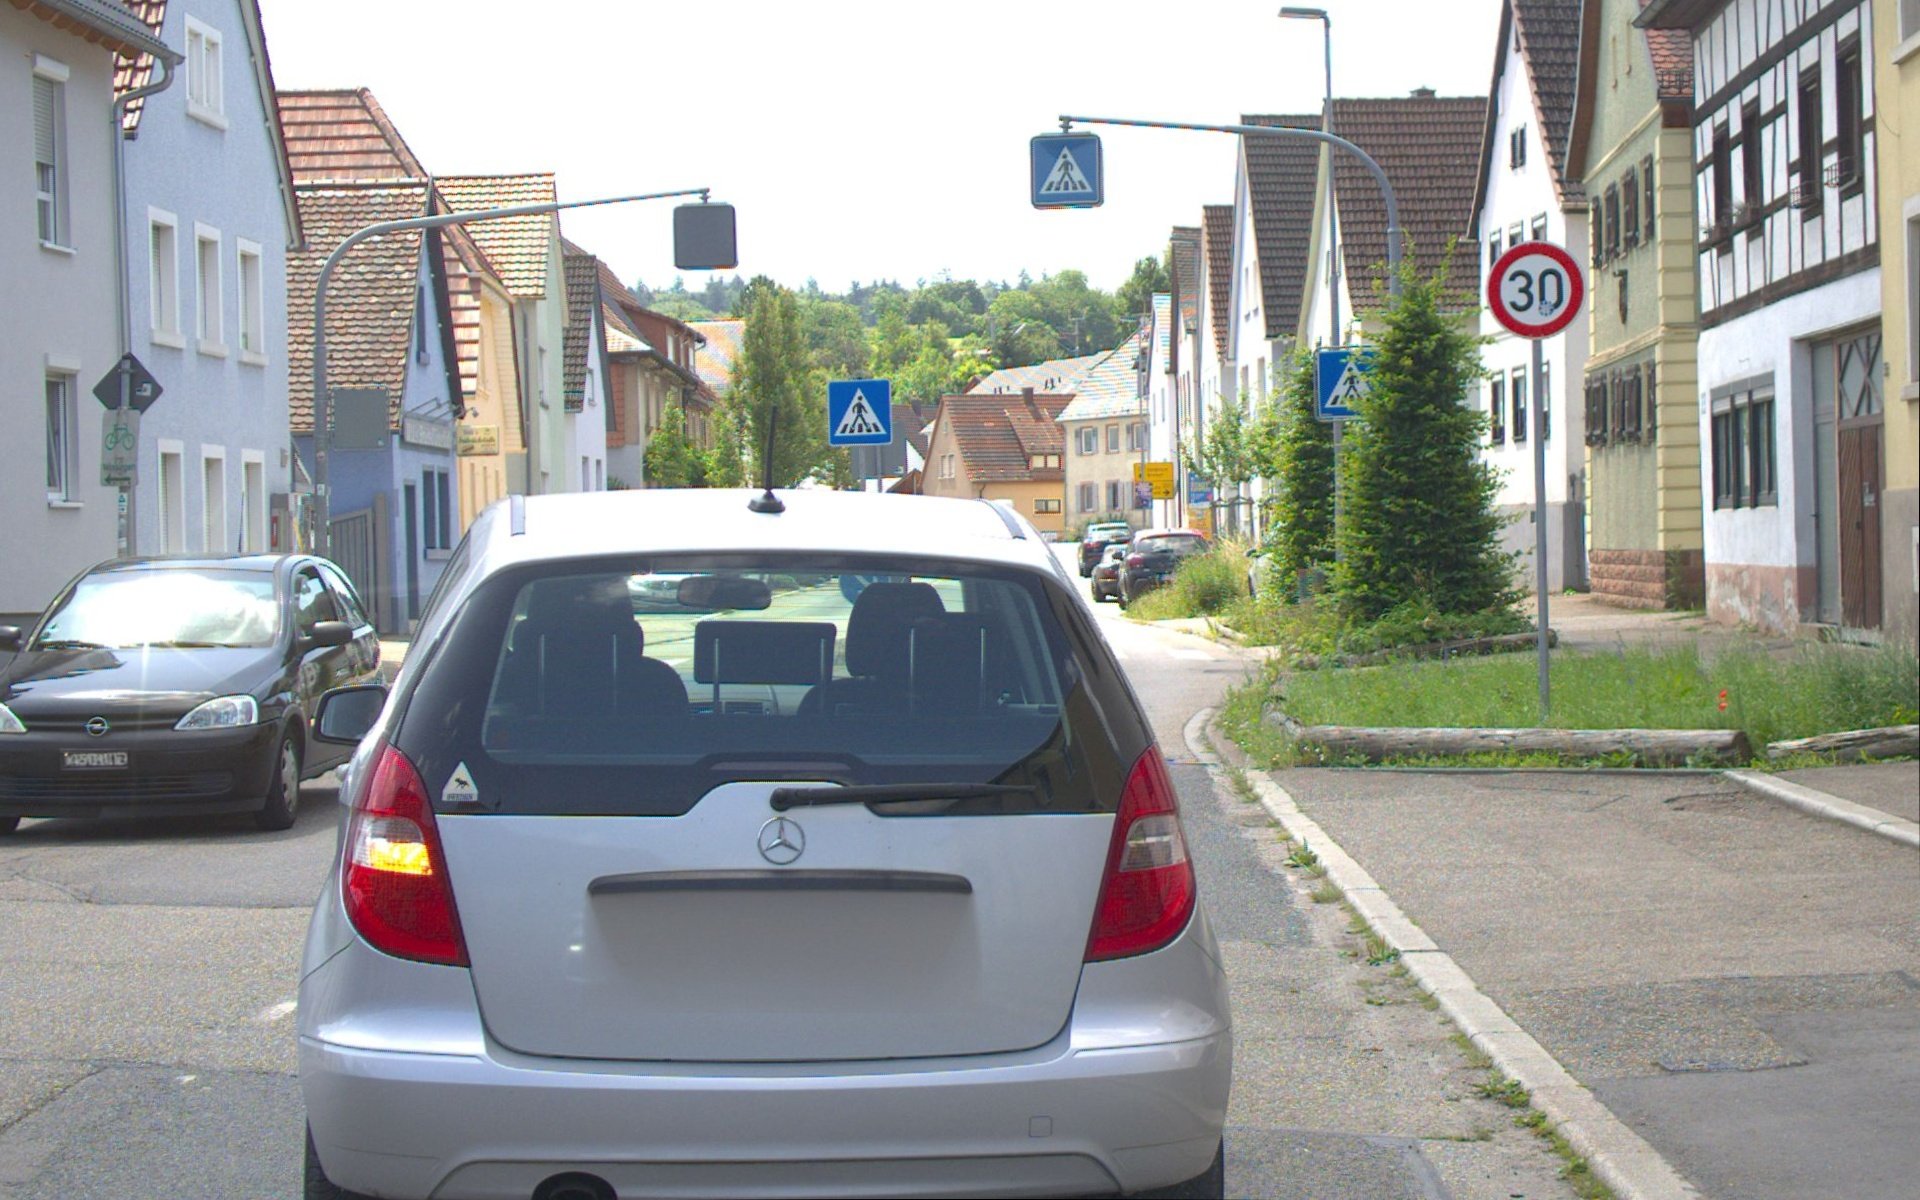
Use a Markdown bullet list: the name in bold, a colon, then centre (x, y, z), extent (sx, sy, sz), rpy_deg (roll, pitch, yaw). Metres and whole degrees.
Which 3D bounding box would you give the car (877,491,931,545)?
- **car**: centre (-2.236, -3.254, 137.470), extent (1.993, 2.007, 4.000), rpy_deg (0, -1, 2)

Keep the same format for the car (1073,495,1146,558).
- **car**: centre (4.583, -2.252, 105.777), extent (1.993, 1.810, 4.000), rpy_deg (0, -1, -1)

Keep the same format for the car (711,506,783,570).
- **car**: centre (-5.658, -1.639, 91.759), extent (1.667, 1.590, 4.000), rpy_deg (0, -1, 0)

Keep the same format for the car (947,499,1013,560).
- **car**: centre (0.609, -2.198, 108.334), extent (1.993, 1.810, 4.000), rpy_deg (0, -1, -1)

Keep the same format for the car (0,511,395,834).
- **car**: centre (-4.105, 0.363, 18.346), extent (1.500, 1.535, 3.856), rpy_deg (0, -1, 1)

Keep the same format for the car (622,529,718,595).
- **car**: centre (-6.166, -0.794, 73.068), extent (1.993, 1.317, 3.709), rpy_deg (0, -1, -5)

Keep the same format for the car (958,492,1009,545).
- **car**: centre (0.939, -3.265, 138.517), extent (1.993, 2.007, 4.000), rpy_deg (0, -1, 0)

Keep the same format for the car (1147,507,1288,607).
- **car**: centre (4.123, -0.667, 55.560), extent (1.993, 1.503, 4.000), rpy_deg (0, -1, 0)

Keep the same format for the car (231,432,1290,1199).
- **car**: centre (-0.553, 0.527, 7.800), extent (1.810, 1.638, 3.730), rpy_deg (1, 1, -7)

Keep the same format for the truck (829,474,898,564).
- **truck**: centre (-2.923, -2.448, 105.706), extent (1.993, 2.528, 6.739), rpy_deg (0, -1, -1)

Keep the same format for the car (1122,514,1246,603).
- **car**: centre (4.019, -0.728, 62.309), extent (1.993, 1.503, 4.000), rpy_deg (0, -1, 0)
